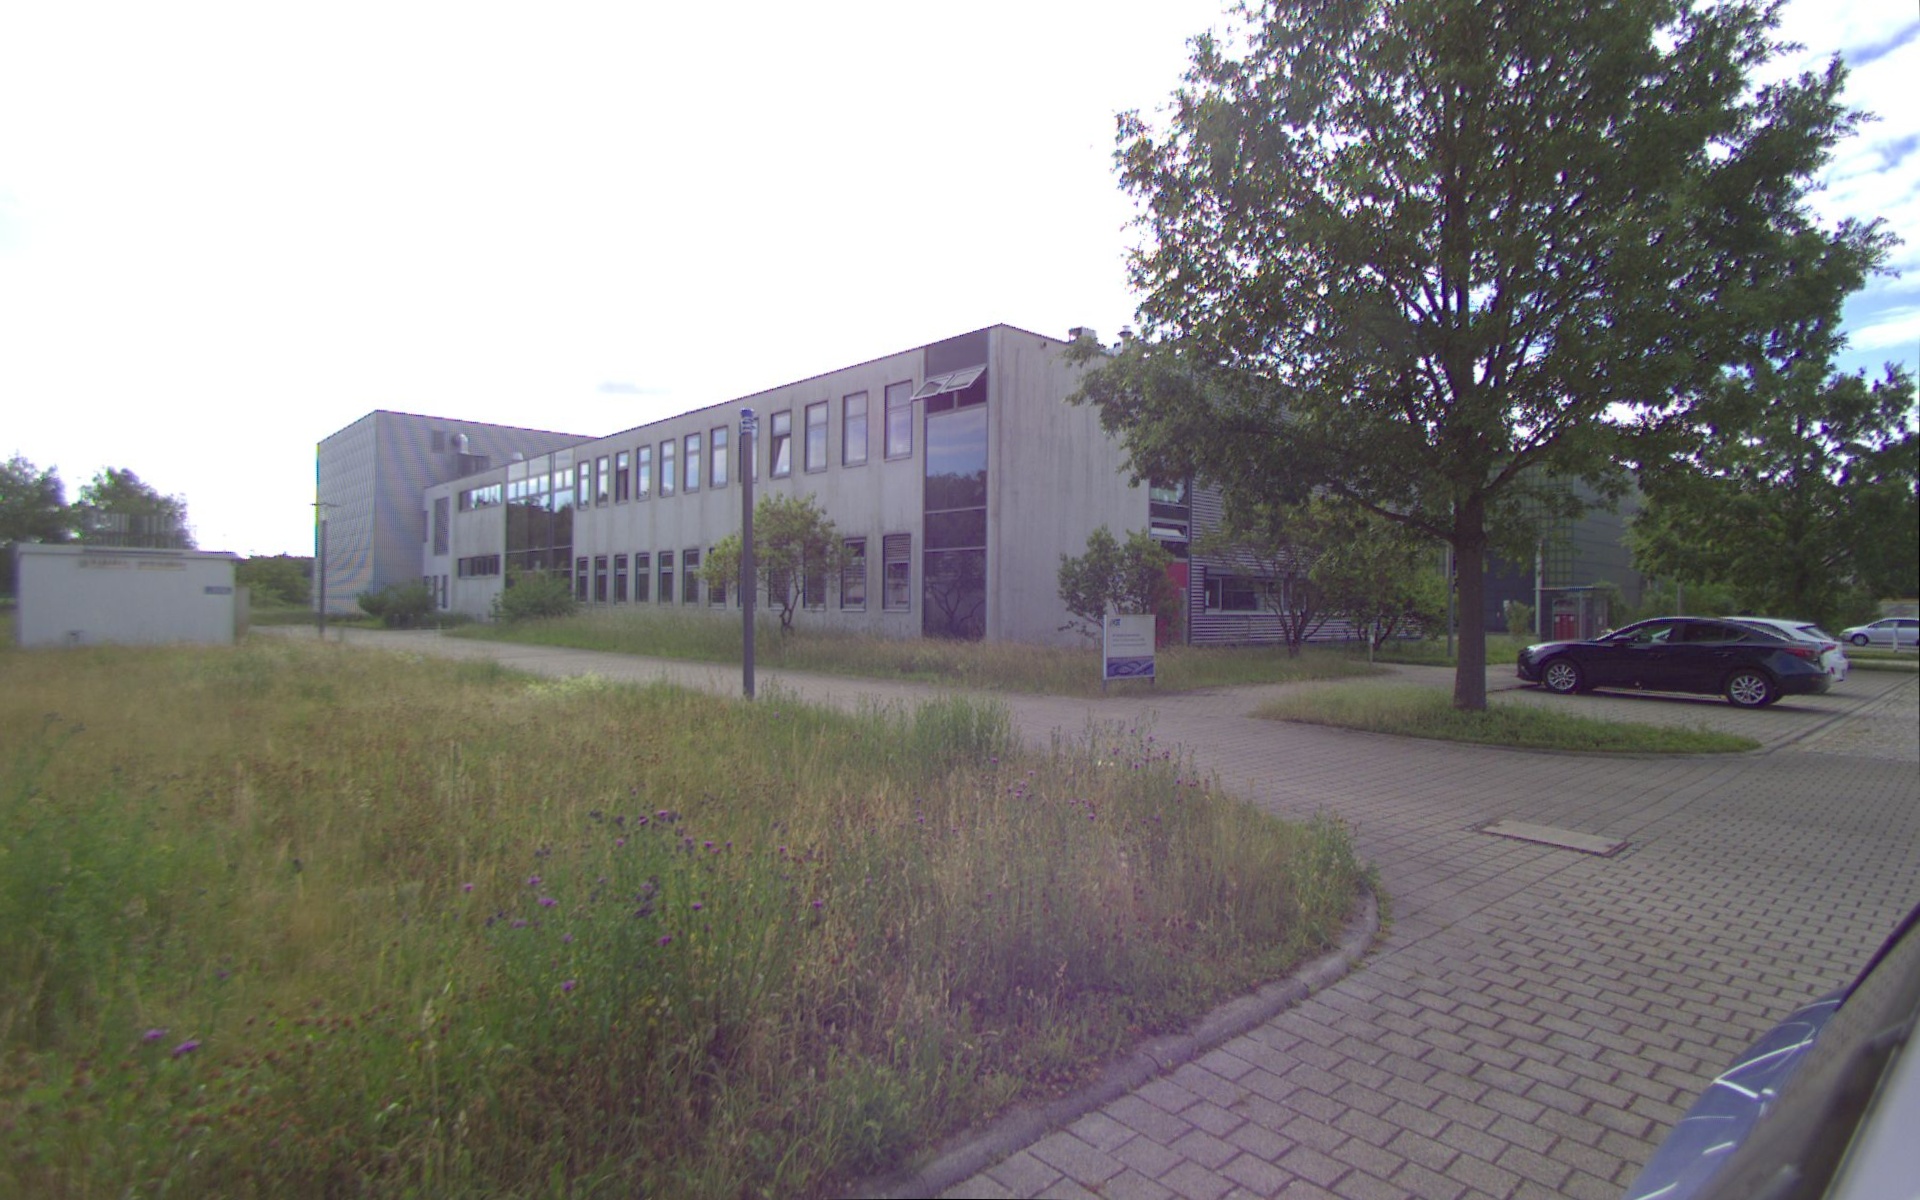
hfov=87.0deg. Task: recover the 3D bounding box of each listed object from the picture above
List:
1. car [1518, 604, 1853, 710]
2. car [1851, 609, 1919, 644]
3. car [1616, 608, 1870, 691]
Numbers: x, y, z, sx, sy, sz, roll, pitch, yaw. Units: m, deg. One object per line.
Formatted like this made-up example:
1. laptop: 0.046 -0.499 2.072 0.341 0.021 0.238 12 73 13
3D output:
1. car: 12.532 0.888 17.717 1.911 1.465 4.469 1 1 -43
2. car: 49.087 1.409 52.536 1.908 1.645 4.124 1 2 -45
3. car: 16.343 0.963 21.254 1.851 1.485 3.980 1 0 -43
